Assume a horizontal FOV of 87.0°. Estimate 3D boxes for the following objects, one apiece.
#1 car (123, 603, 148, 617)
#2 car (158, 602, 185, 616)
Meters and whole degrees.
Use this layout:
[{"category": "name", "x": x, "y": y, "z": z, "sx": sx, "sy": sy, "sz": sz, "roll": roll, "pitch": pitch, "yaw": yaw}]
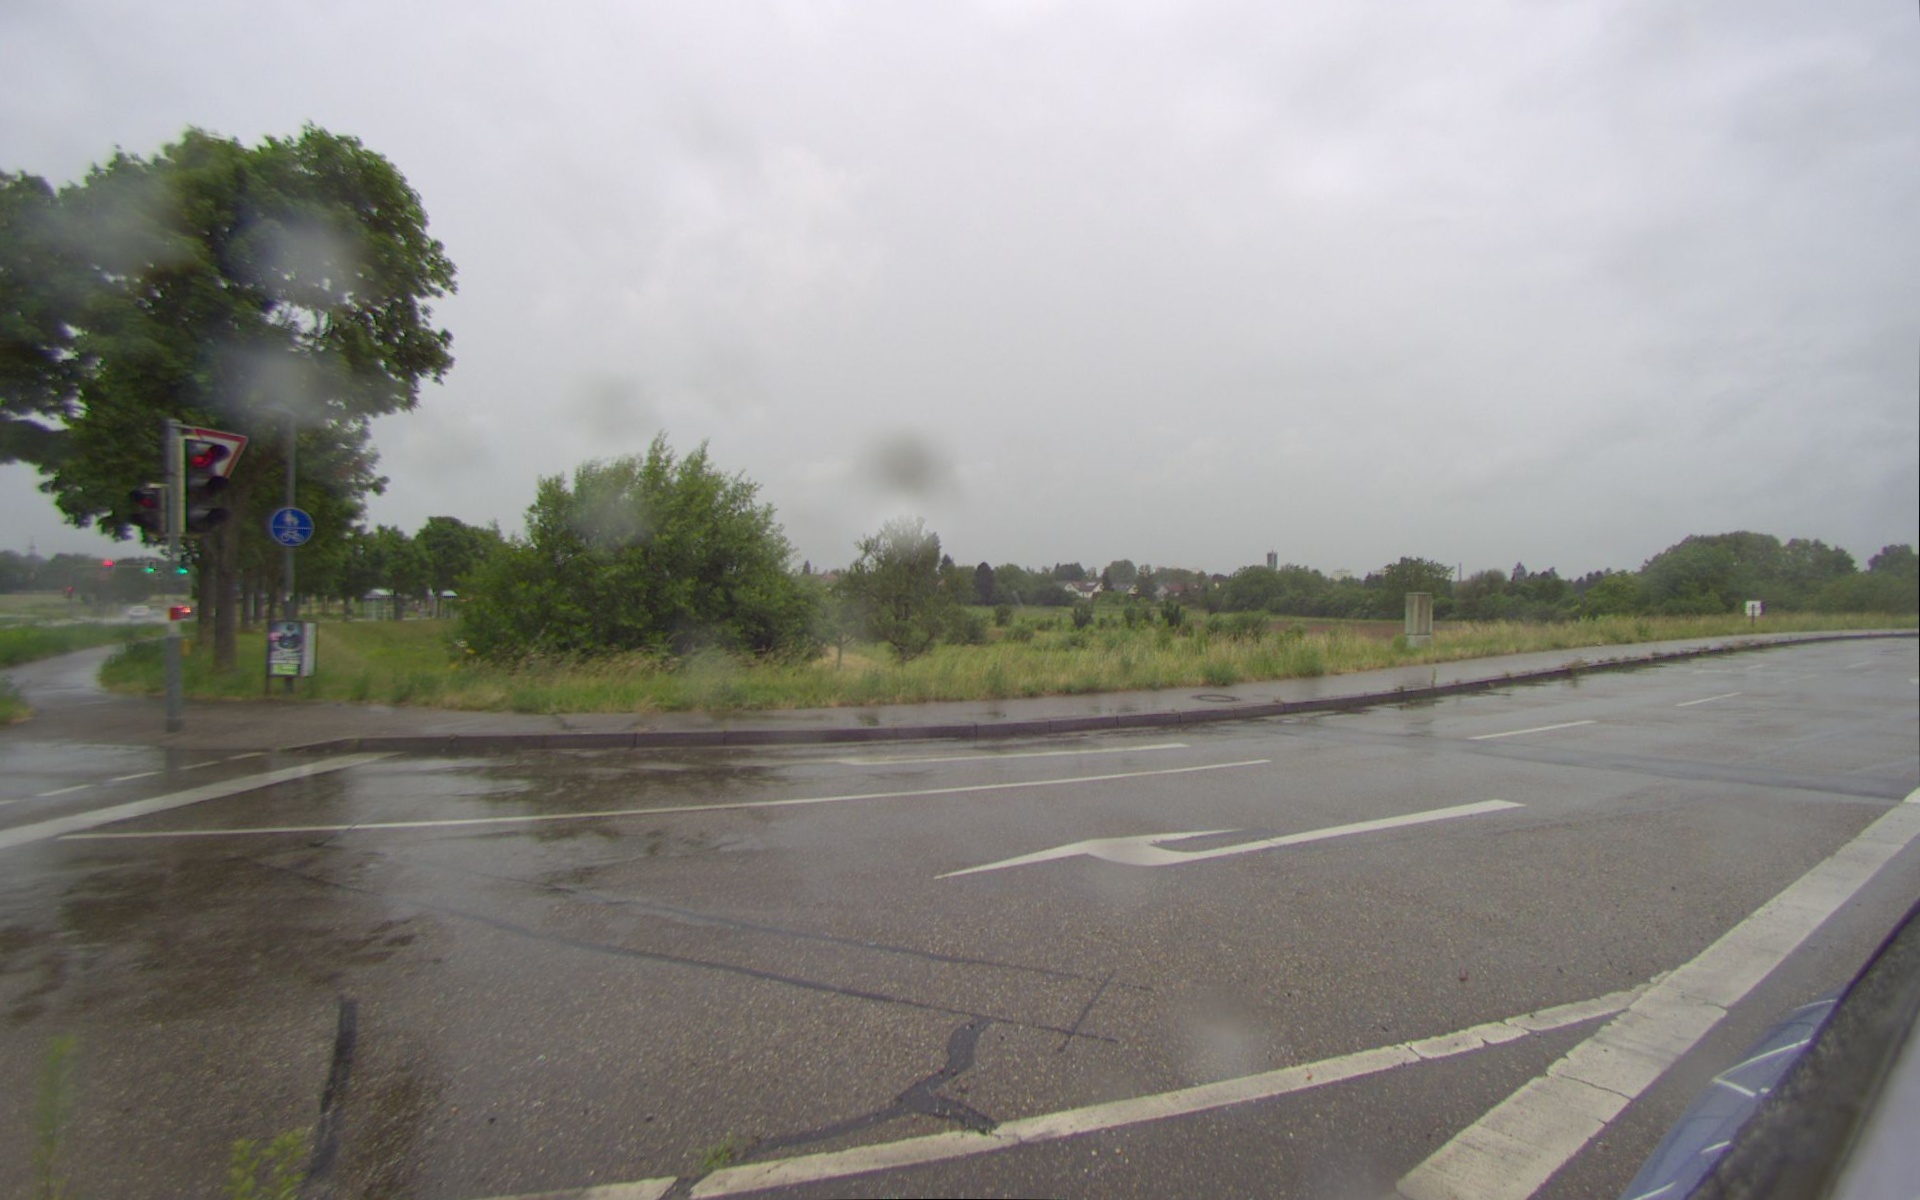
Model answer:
[{"category": "car", "x": -87.859, "y": 1.096, "z": 107.880, "sx": 1.845, "sy": 1.371, "sz": 4.050, "roll": 0, "pitch": 1, "yaw": -37}, {"category": "car", "x": -83.362, "y": 0.905, "z": 107.071, "sx": 1.843, "sy": 1.371, "sz": 4.055, "roll": 0, "pitch": 1, "yaw": -32}]
